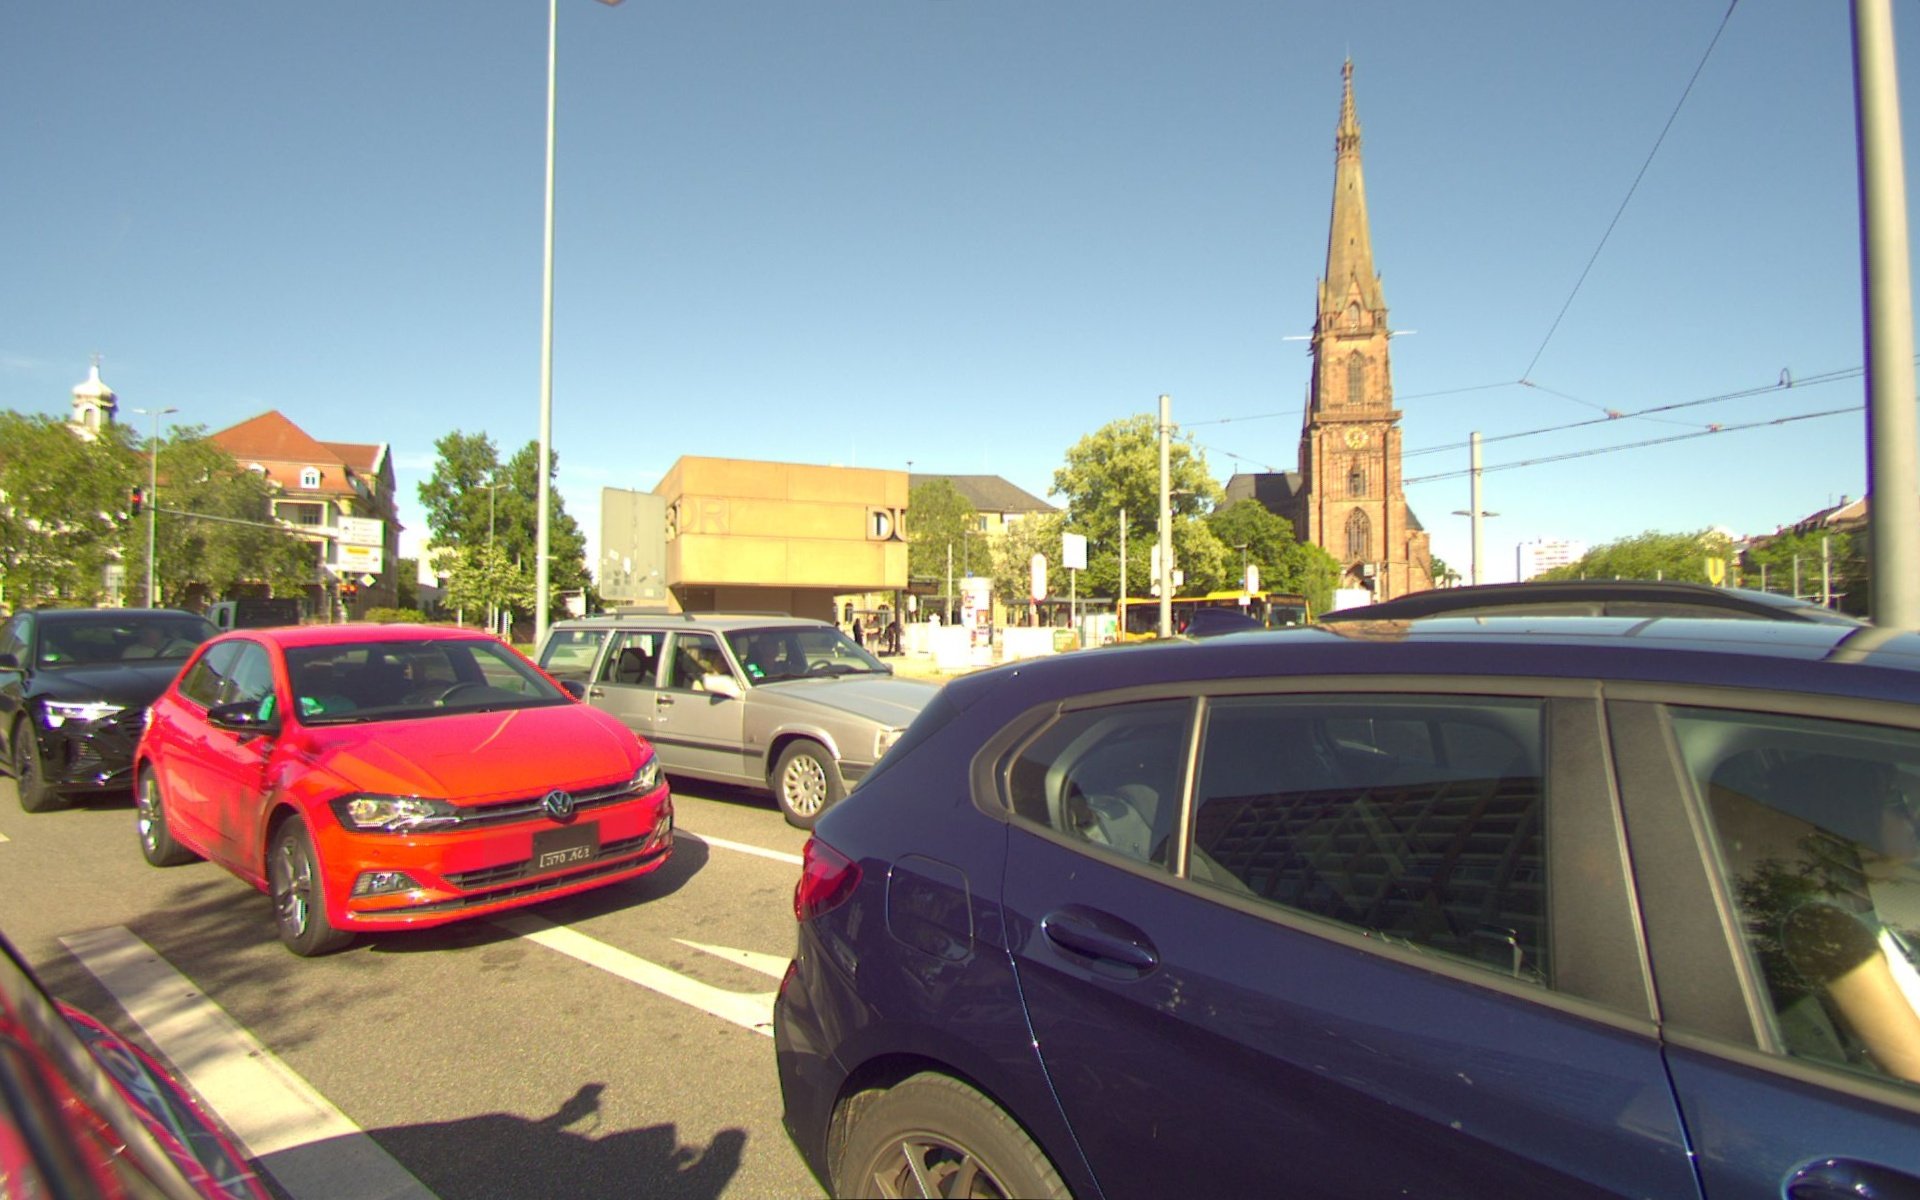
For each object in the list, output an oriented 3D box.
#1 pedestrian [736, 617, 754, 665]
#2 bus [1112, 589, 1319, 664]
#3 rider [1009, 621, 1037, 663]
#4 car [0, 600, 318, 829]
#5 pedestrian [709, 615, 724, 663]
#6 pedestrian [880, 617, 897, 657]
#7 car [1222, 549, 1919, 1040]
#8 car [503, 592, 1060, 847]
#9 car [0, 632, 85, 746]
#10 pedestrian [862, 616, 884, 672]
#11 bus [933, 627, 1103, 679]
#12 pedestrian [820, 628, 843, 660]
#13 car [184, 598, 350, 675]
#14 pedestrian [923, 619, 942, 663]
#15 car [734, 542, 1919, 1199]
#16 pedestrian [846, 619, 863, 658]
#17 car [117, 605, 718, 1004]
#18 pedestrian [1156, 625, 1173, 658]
[{"bbox_3d":[-8.148,1.536,38.317,0.635,1.789,0.618,0,-2,-8],"label":"pedestrian"},{"bbox_3d":[11.636,1.321,48.107,2.715,3.088,12.201,1,-2,-23],"label":"bus"},{"bbox_3d":[2.264,1.501,36.456,0.658,1.475,0.864,1,-2,-30],"label":"rider"},{"bbox_3d":[-7.840,0.881,9.332,4.446,1.628,1.836,-1,-2,38],"label":"car"},{"bbox_3d":[-9.285,1.485,38.554,0.460,1.789,0.648,0,-2,-21],"label":"pedestrian"},{"bbox_3d":[-3.174,1.642,45.072,0.468,1.789,0.638,-2,-2,36],"label":"pedestrian"},{"bbox_3d":[3.297,0.620,4.060,4.010,1.529,1.738,-2,-2,44],"label":"car"},{"bbox_3d":[-1.673,0.805,8.211,4.746,1.484,1.692,-3,0,38],"label":"car"},{"bbox_3d":[-13.651,1.164,13.924,3.704,1.429,1.557,-1,-2,35],"label":"car"},{"bbox_3d":[-2.868,1.445,33.429,0.658,1.802,0.646,-1,-1,-2],"label":"pedestrian"},{"bbox_3d":[1.457,1.324,26.150,4.174,1.251,1.627,-1,-2,35],"label":"bus"},{"bbox_3d":[-5.493,1.867,43.235,0.635,1.320,0.764,1,-2,-40],"label":"pedestrian"},{"bbox_3d":[-22.706,1.181,33.098,6.191,2.331,2.095,-1,-2,31],"label":"car"},{"bbox_3d":[-1.107,1.659,41.017,0.634,1.789,0.470,1,-2,-29],"label":"pedestrian"},{"bbox_3d":[1.603,0.670,1.357,4.030,1.456,1.692,-1,-1,42],"label":"car"},{"bbox_3d":[-4.849,1.785,46.588,0.468,1.789,0.638,-2,-2,36],"label":"pedestrian"},{"bbox_3d":[-3.220,0.807,5.672,3.850,1.484,1.653,-2,-1,40],"label":"car"},{"bbox_3d":[9.701,1.959,48.029,0.570,1.525,0.521,-1,-1,36],"label":"pedestrian"}]
